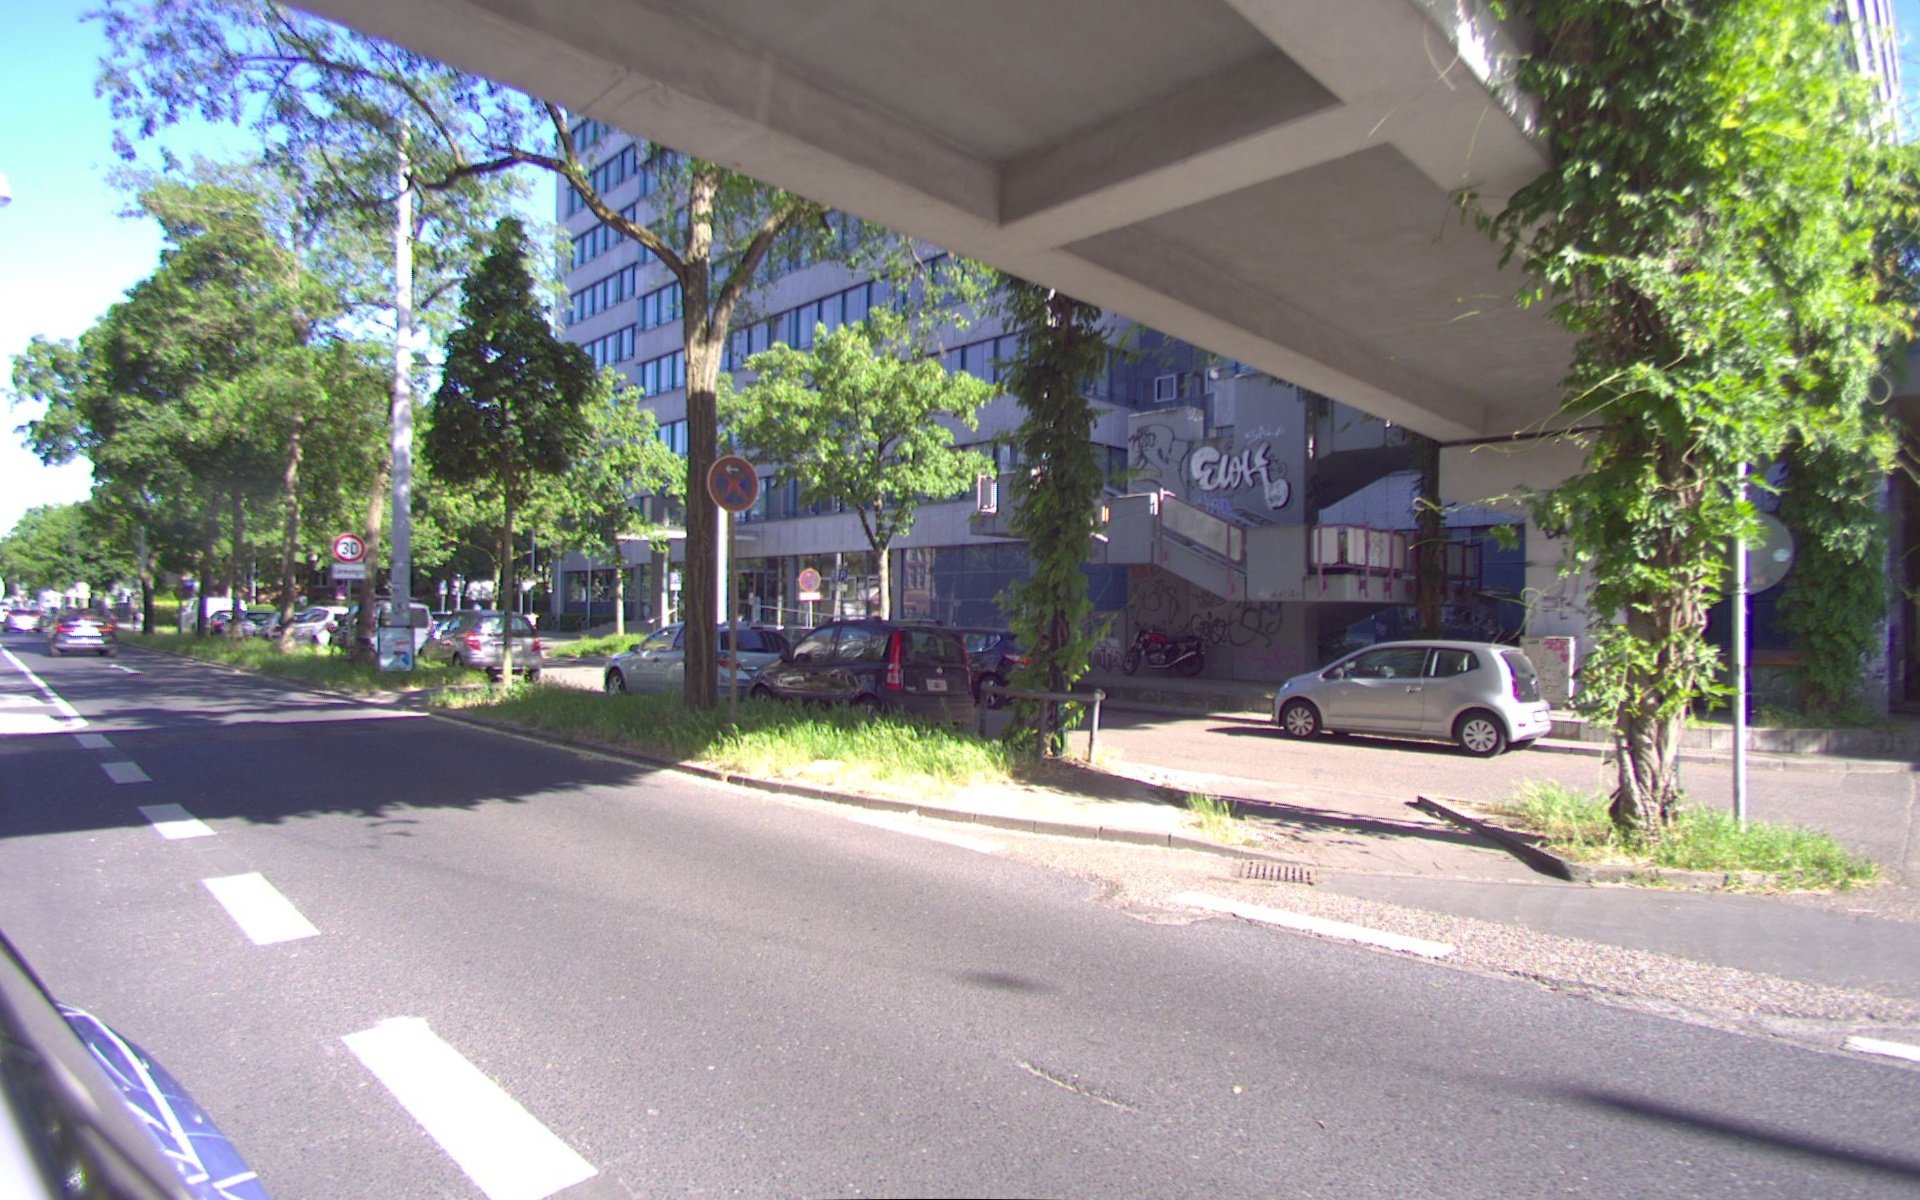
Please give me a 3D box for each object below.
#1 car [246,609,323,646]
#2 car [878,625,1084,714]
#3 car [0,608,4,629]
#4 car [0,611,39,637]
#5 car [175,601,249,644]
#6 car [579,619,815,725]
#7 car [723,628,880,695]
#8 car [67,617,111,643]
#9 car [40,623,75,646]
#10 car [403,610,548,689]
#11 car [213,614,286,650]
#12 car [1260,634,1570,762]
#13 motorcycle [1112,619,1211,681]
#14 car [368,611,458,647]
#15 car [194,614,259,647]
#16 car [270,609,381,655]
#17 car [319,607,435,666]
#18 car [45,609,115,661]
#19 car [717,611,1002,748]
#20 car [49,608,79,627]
[{"bbox_3d":[-24.285,0.958,36.336,1.632,1.236,3.850,1,-1,-44],"label":"car"},{"bbox_3d":[0.335,1.293,20.041,4.002,1.541,1.712,-1,-2,45],"label":"car"},{"bbox_3d":[-75.381,1.405,78.365,4.190,1.596,1.767,0,-1,44],"label":"car"},{"bbox_3d":[-55.164,1.398,59.129,4.190,1.433,1.767,0,-3,45],"label":"car"},{"bbox_3d":[-35.348,1.052,47.786,4.527,1.923,2.042,0,-1,44],"label":"car"},{"bbox_3d":[-4.370,1.116,16.461,4.283,1.459,1.634,0,-5,44],"label":"car"},{"bbox_3d":[-3.805,1.406,23.988,3.800,1.414,1.663,0,-2,42],"label":"car"},{"bbox_3d":[-52.822,1.767,61.353,1.716,1.501,4.003,1,-1,-44],"label":"car"},{"bbox_3d":[-61.201,2.309,68.586,1.583,1.425,4.003,1,-1,-44],"label":"car"},{"bbox_3d":[-11.195,1.073,23.273,1.752,1.659,4.085,2,-2,-45],"label":"car"},{"bbox_3d":[-28.378,1.231,40.400,3.970,1.354,1.634,0,-1,44],"label":"car"},{"bbox_3d":[6.260,1.250,14.166,3.649,1.497,1.588,-1,-2,44],"label":"car"},{"bbox_3d":[4.398,1.059,22.199,2.054,1.280,0.721,0,-2,44],"label":"motorcycle"},{"bbox_3d":[-29.013,1.505,53.714,3.937,1.726,1.708,-2,1,-40],"label":"car"},{"bbox_3d":[-31.919,1.297,44.027,1.656,1.343,4.191,1,-1,-45],"label":"car"},{"bbox_3d":[-20.812,1.006,33.131,4.488,1.394,1.699,0,-1,39],"label":"car"},{"bbox_3d":[-16.595,0.984,28.715,4.450,1.561,1.710,0,-1,45],"label":"car"},{"bbox_3d":[-27.367,1.078,31.459,1.450,1.539,2.818,2,-2,-44],"label":"car"},{"bbox_3d":[-1.437,0.968,13.455,1.720,1.550,3.781,5,-4,-45],"label":"car"},{"bbox_3d":[-71.549,1.395,80.790,1.583,1.425,4.003,1,-1,-44],"label":"car"}]
